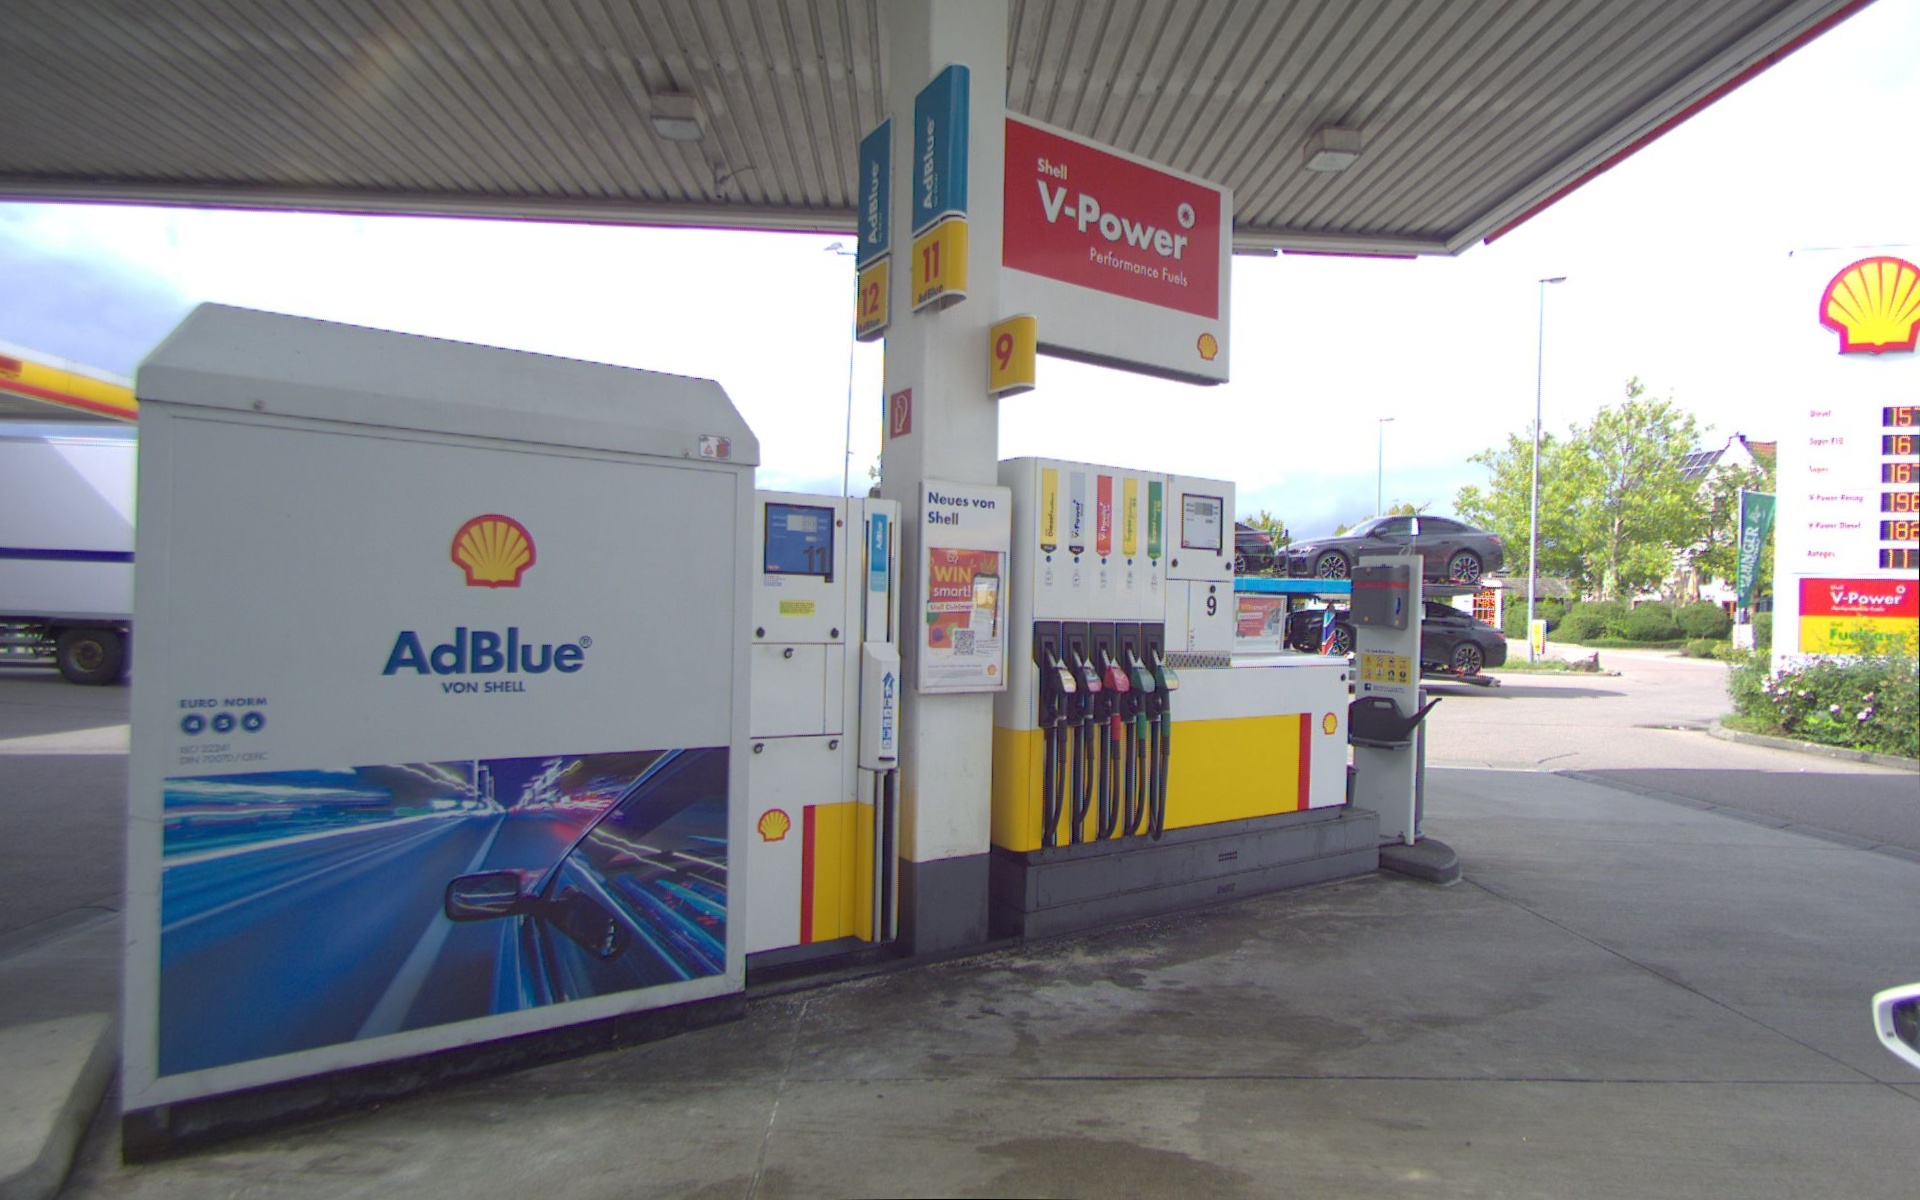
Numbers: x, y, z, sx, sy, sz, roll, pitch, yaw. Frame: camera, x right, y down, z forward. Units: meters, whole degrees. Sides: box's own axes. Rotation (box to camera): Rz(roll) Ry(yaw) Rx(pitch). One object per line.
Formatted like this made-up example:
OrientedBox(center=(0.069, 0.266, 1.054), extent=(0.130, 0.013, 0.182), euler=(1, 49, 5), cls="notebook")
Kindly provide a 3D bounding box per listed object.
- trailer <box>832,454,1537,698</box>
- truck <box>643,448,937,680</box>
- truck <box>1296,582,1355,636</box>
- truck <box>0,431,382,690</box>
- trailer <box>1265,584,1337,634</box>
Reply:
OrientedBox(center=(4.534, -0.476, 21.587), extent=(14.077, 4.481, 2.746), euler=(2, 0, 0), cls="trailer")
OrientedBox(center=(-3.441, -0.712, 21.549), extent=(5.713, 4.479, 2.750), euler=(2, 0, 0), cls="truck")
OrientedBox(center=(27.965, 0.712, 77.076), extent=(2.686, 3.897, 5.921), euler=(2, 0, 5), cls="truck")
OrientedBox(center=(-17.293, -0.744, 17.505), extent=(12.654, 4.092, 2.534), euler=(2, 0, -3), cls="truck")
OrientedBox(center=(28.600, 0.769, 84.921), extent=(2.684, 3.826, 12.718), euler=(2, 0, 5), cls="trailer")
